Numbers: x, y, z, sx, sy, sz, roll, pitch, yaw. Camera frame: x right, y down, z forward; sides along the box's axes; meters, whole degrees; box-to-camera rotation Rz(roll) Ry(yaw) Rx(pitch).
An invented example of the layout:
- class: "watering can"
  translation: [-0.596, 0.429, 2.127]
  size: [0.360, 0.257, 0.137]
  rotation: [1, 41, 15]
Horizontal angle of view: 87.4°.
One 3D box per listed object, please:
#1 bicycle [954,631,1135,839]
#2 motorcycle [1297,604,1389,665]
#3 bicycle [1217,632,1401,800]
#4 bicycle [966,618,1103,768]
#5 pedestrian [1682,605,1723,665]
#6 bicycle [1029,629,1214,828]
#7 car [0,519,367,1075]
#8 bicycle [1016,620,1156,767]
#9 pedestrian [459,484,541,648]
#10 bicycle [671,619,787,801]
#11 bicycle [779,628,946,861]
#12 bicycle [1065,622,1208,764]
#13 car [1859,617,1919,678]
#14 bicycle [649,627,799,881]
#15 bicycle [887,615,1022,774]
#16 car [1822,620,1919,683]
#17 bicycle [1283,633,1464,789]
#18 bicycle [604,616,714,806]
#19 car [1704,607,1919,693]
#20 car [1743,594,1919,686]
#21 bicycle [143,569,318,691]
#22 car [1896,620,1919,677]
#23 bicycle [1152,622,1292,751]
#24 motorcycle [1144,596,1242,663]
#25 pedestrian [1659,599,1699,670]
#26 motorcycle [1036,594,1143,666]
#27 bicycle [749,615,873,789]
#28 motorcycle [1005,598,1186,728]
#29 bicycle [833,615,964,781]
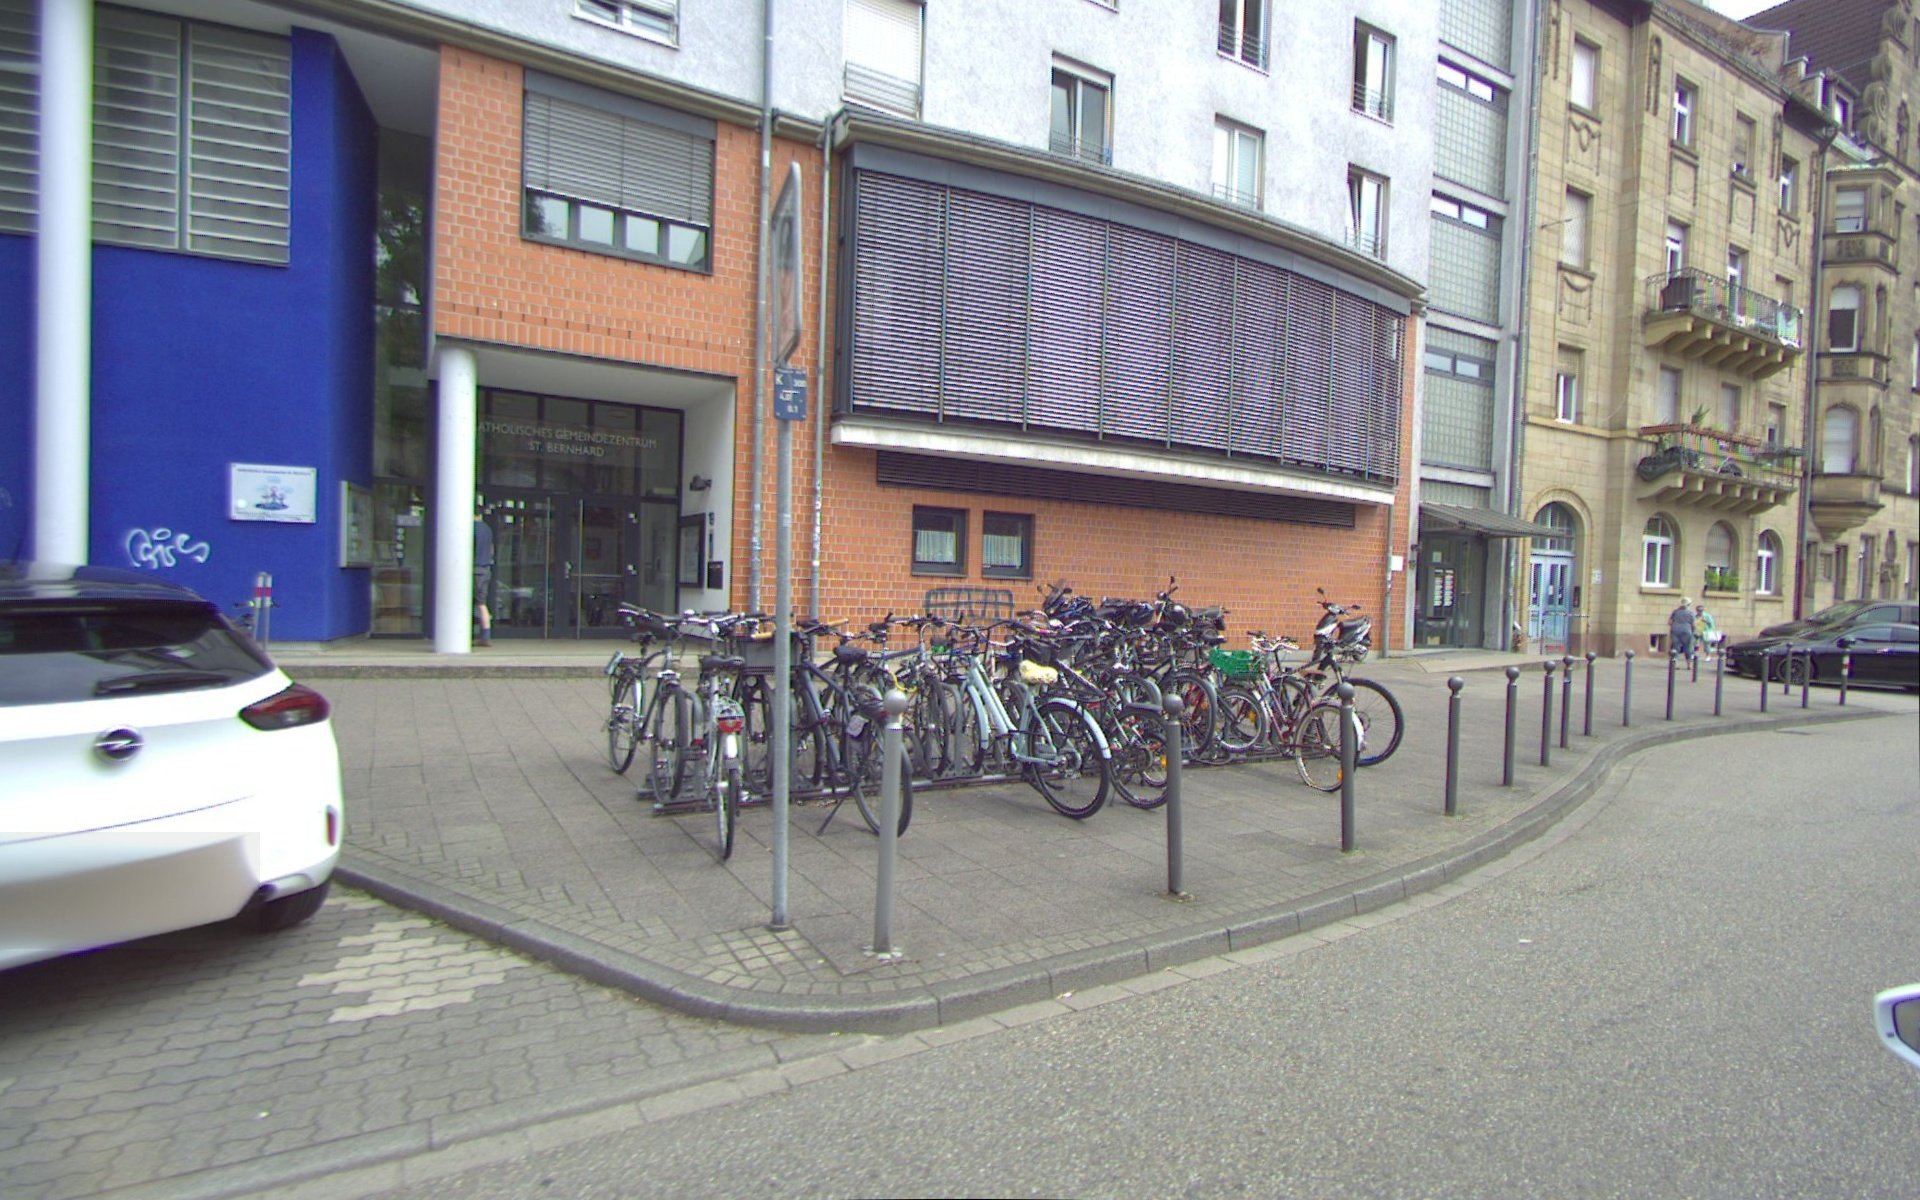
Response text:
- class: "bicycle"
  translation: [0.482, 0.785, 6.346]
  size: [0.397, 1.040, 1.400]
  rotation: [2, 3, -28]
- class: "motorcycle"
  translation: [7.227, 0.649, 18.916]
  size: [1.772, 1.063, 0.580]
  rotation: [2, 2, -30]
- class: "bicycle"
  translation: [2.659, 0.847, 7.802]
  size: [0.397, 1.052, 1.400]
  rotation: [2, 3, -28]
- class: "bicycle"
  translation: [0.570, 0.711, 8.187]
  size: [0.397, 1.040, 1.400]
  rotation: [2, 2, -28]
- class: "pedestrian"
  translation: [19.054, 0.887, 25.784]
  size: [0.503, 1.505, 0.656]
  rotation: [2, 1, -31]
- class: "bicycle"
  translation: [1.024, 0.789, 6.677]
  size: [0.397, 1.052, 1.400]
  rotation: [2, 3, -28]
- class: "car"
  translation: [-4.298, 0.482, 3.958]
  size: [3.933, 1.566, 1.600]
  rotation: [3, 1, 29]
- class: "bicycle"
  translation: [1.013, 0.733, 8.379]
  size: [0.397, 1.040, 1.400]
  rotation: [2, 2, -28]
- class: "pedestrian"
  translation: [-5.978, -0.429, 13.103]
  size: [0.768, 2.040, 0.729]
  rotation: [2, 1, -11]
- class: "bicycle"
  translation: [-1.604, 0.689, 6.836]
  size: [0.397, 1.040, 1.400]
  rotation: [2, 2, -28]
- class: "bicycle"
  translation: [-0.600, 0.743, 5.705]
  size: [0.397, 1.040, 1.400]
  rotation: [2, 3, -28]
- class: "bicycle"
  translation: [1.477, 0.757, 8.633]
  size: [0.397, 1.040, 1.400]
  rotation: [2, 2, -28]
- class: "car"
  translation: [26.391, 1.310, 26.253]
  size: [3.921, 1.523, 1.630]
  rotation: [3, 1, 25]
- class: "bicycle"
  translation: [-1.286, 0.727, 5.296]
  size: [0.397, 1.040, 1.400]
  rotation: [2, 3, -28]
- class: "bicycle"
  translation: [-0.078, 0.673, 7.693]
  size: [0.397, 1.040, 1.400]
  rotation: [2, 2, -28]
- class: "car"
  translation: [24.118, 1.318, 24.746]
  size: [3.933, 1.428, 1.797]
  rotation: [2, 1, 19]
- class: "bicycle"
  translation: [3.376, 0.868, 8.326]
  size: [0.397, 1.052, 1.400]
  rotation: [2, 3, -28]
- class: "bicycle"
  translation: [-2.005, 0.667, 6.591]
  size: [0.397, 1.040, 1.400]
  rotation: [2, 2, -28]
- class: "car"
  translation: [19.029, 1.079, 21.470]
  size: [4.581, 1.428, 1.899]
  rotation: [5, 3, 21]
- class: "car"
  translation: [21.665, 0.938, 23.249]
  size: [5.172, 1.935, 2.119]
  rotation: [3, 1, 26]
- class: "bicycle"
  translation: [-7.072, 0.261, 9.851]
  size: [0.917, 0.939, 1.609]
  rotation: [2, 6, -18]
- class: "car"
  translation: [29.070, 1.448, 28.023]
  size: [3.939, 1.585, 1.794]
  rotation: [3, 1, 28]
- class: "bicycle"
  translation: [2.427, 0.774, 9.447]
  size: [0.397, 1.040, 1.400]
  rotation: [2, 2, -28]
- class: "motorcycle"
  translation: [4.003, 0.499, 17.187]
  size: [1.952, 1.063, 0.578]
  rotation: [1, 3, -42]
- class: "pedestrian"
  translation: [16.372, 0.769, 22.879]
  size: [0.642, 1.566, 0.506]
  rotation: [3, 1, 41]
- class: "motorcycle"
  translation: [2.048, 0.471, 15.792]
  size: [1.639, 1.063, 0.580]
  rotation: [2, 2, -32]
- class: "bicycle"
  translation: [-1.092, 0.664, 7.120]
  size: [0.397, 1.040, 1.400]
  rotation: [2, 2, -28]
- class: "motorcycle"
  translation: [1.375, 0.616, 10.083]
  size: [1.758, 1.188, 0.581]
  rotation: [2, 2, -29]
- class: "bicycle"
  translation: [-0.488, 0.673, 7.444]
  size: [0.397, 1.040, 1.400]
  rotation: [2, 2, -28]
